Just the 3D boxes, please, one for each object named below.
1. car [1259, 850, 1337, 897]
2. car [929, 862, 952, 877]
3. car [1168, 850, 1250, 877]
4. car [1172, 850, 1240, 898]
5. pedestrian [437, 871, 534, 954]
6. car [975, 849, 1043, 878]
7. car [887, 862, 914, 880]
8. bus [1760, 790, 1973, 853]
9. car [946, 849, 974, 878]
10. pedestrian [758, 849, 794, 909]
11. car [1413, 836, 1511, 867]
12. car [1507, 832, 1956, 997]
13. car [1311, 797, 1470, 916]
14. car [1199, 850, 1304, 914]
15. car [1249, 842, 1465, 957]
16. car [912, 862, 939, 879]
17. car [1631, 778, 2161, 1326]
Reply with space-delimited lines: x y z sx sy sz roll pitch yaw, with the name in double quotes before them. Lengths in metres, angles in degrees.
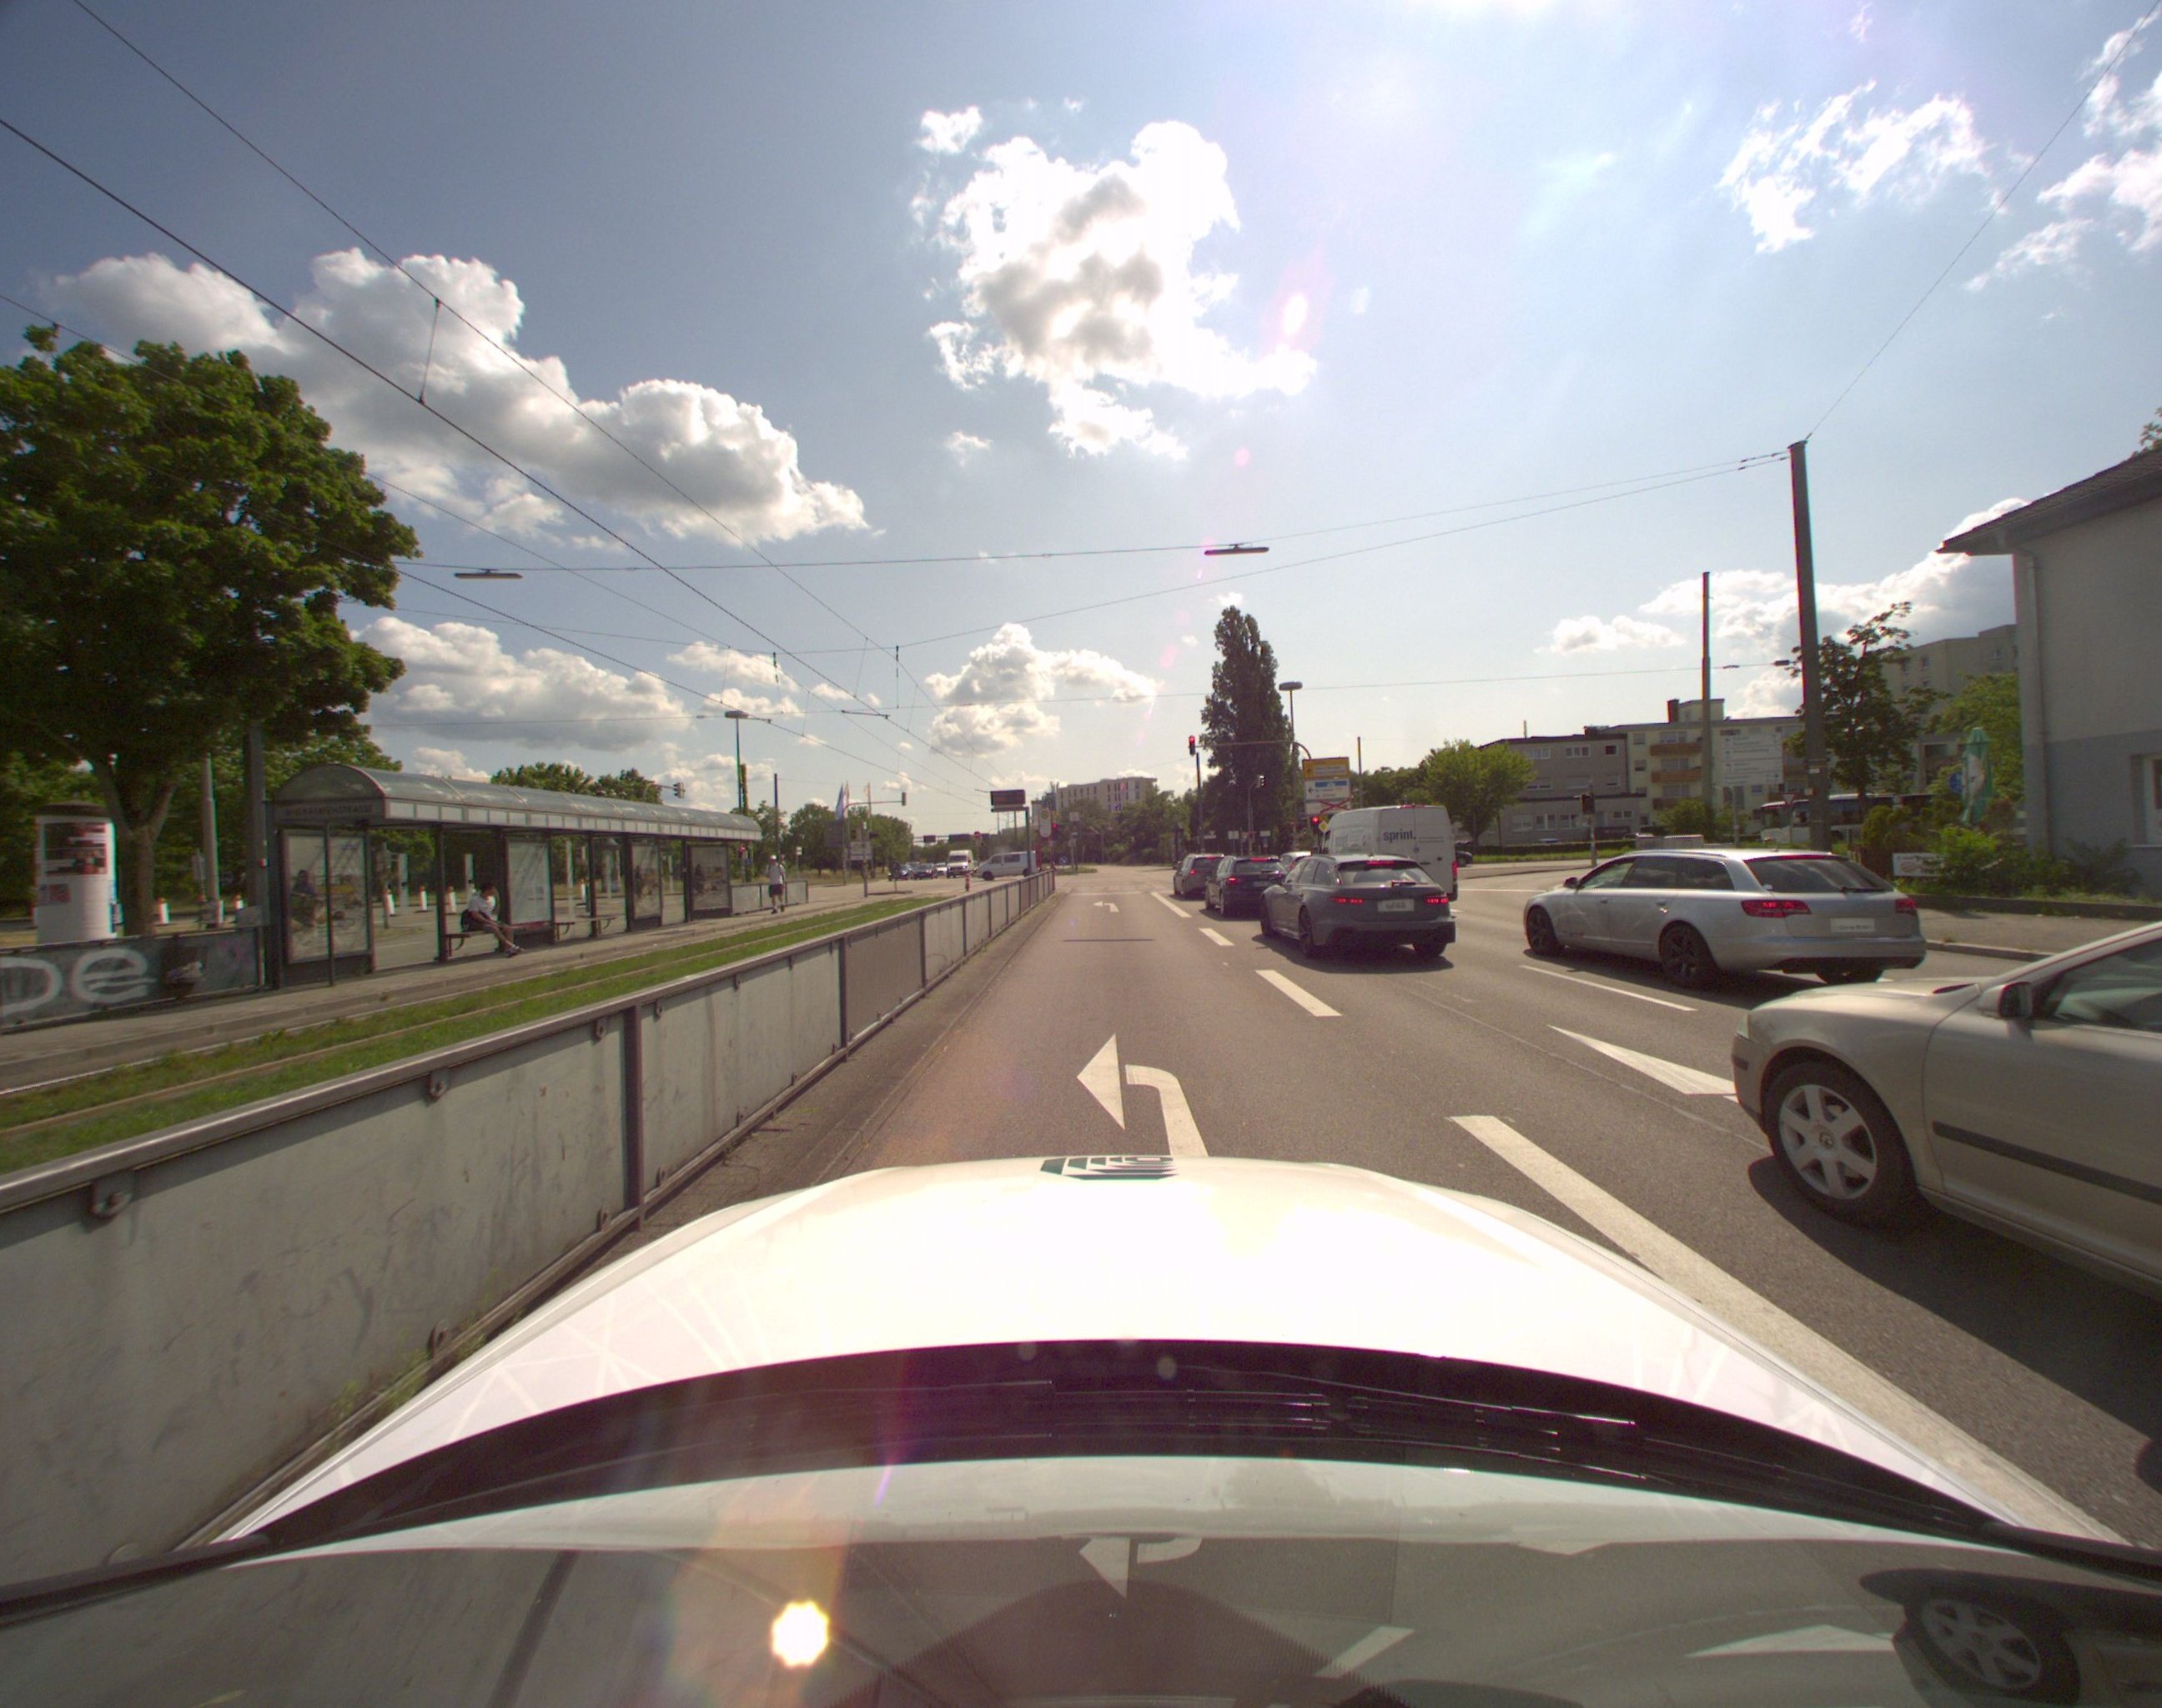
"car" 7.318 0.614 27.855 1.737 1.448 4.383 -1 0 3
"car" -14.547 1.609 84.459 1.797 1.541 4.160 0 -1 -2
"car" 7.235 0.537 46.456 4.442 1.514 2.001 -1 -1 2
"car" 4.210 0.648 28.060 1.738 1.499 4.381 -1 0 1
"pedestrian" -10.404 1.003 14.260 1.055 1.376 0.860 -1 -1 1
"car" -5.178 0.681 58.993 4.659 1.936 2.000 -1 0 1
"car" -17.318 1.630 78.154 1.858 1.651 3.996 0 -1 -3
"bus" 49.884 -1.994 51.954 10.290 3.591 2.818 -2 0 5
"car" -11.359 0.919 76.736 1.988 2.606 4.876 0 -1 -1
"pedestrian" -9.300 0.758 24.845 0.805 1.795 0.708 -2 -1 -1
"car" 21.694 -0.126 46.480 4.650 1.549 2.004 -2 0 6
"car" 7.193 0.569 9.799 1.848 1.492 4.537 -1 0 1
"car" 7.534 0.069 20.481 2.034 2.557 5.232 -2 0 1
"car" 4.146 0.640 20.421 1.863 1.419 4.101 -1 0 1
"car" 4.054 0.594 12.889 1.880 1.448 4.829 -1 0 1
"car" -14.460 1.550 75.846 1.892 1.541 3.726 0 -1 -2
"car" 3.798 0.524 2.084 1.732 1.492 4.631 -1 0 1
